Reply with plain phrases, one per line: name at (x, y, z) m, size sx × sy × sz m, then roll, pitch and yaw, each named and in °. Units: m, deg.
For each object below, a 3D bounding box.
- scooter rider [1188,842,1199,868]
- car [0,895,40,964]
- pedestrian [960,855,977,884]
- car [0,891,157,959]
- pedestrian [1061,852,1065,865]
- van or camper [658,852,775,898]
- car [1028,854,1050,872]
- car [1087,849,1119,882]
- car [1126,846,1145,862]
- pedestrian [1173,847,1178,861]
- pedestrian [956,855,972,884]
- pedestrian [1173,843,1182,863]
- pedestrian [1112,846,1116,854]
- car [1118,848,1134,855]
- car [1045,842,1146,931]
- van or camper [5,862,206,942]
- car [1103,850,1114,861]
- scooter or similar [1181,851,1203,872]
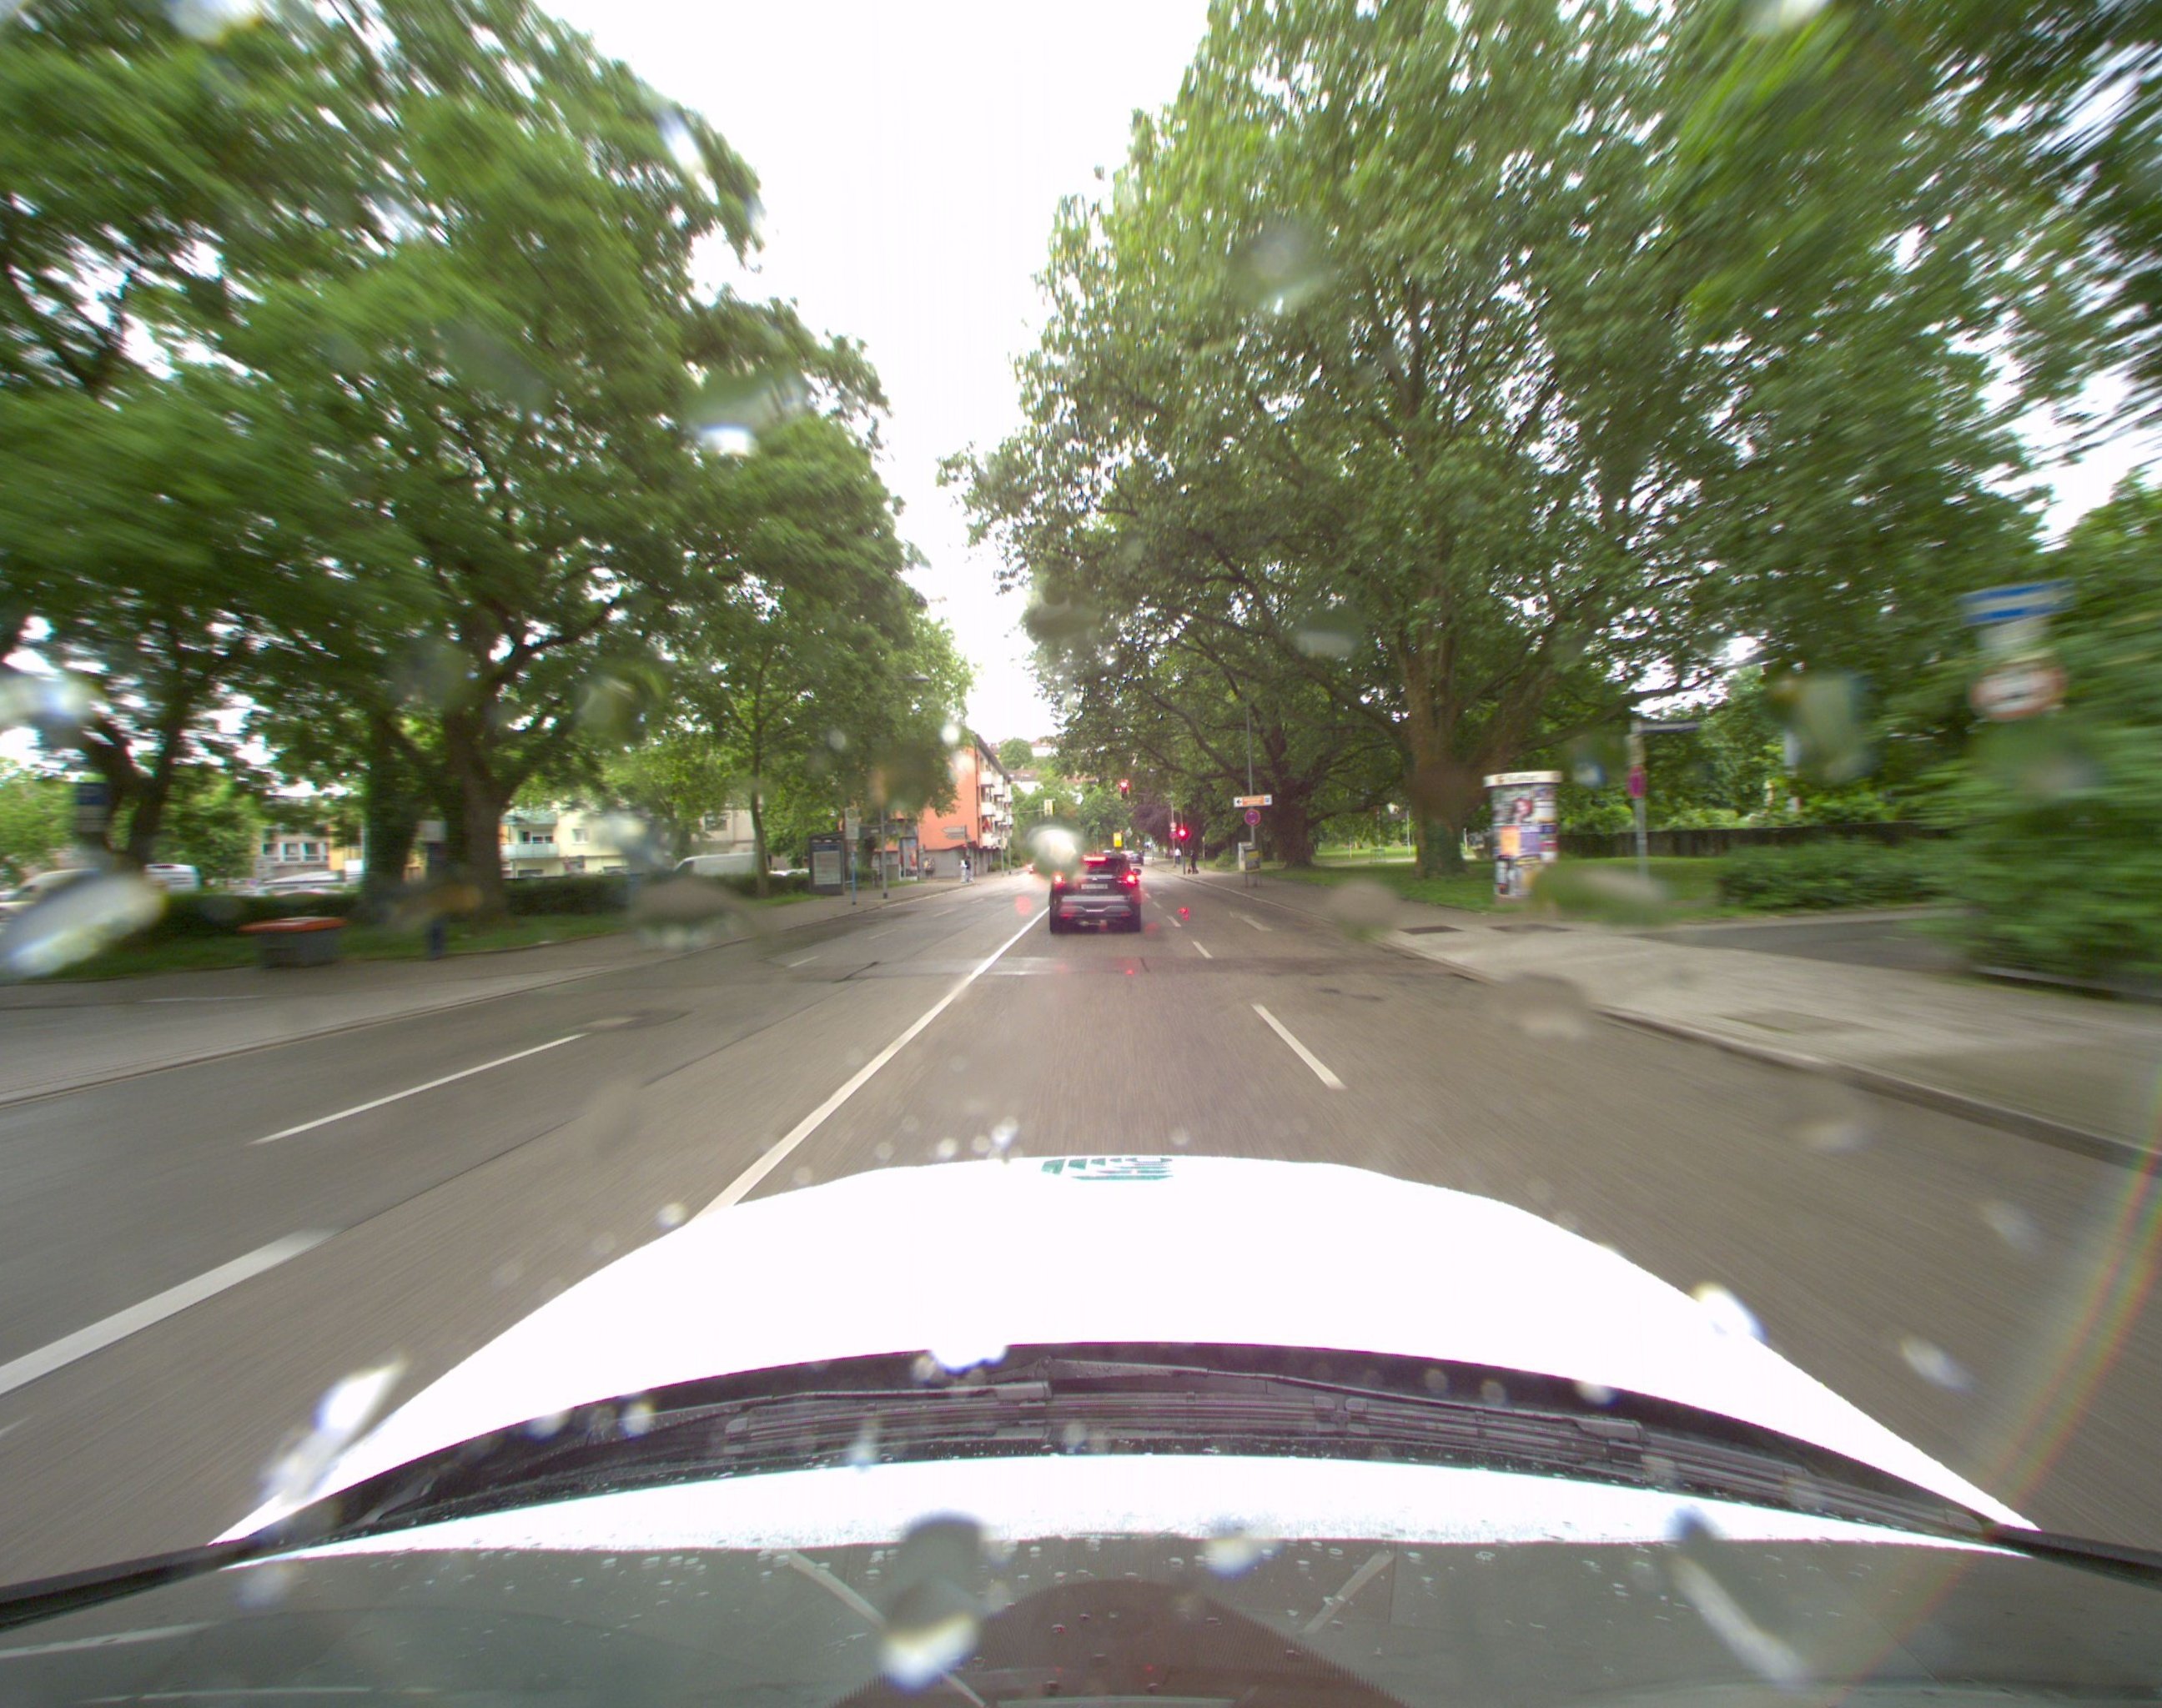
scooter rider at (7.852, 0.096, 57.003) m, size 0.639 × 1.766 × 0.738 m, roll -2°, pitch -1°, yaw 13°
car at (-28.370, 1.942, 19.703) m, size 4.022 × 1.625 × 1.865 m, roll -2°, pitch 0°, yaw 2°
pedestrian at (-7.561, 1.028, 54.764) m, size 1.035 × 1.876 × 0.656 m, roll -2°, pitch 0°, yaw -10°
car at (-28.161, 1.927, 22.151) m, size 3.971 × 1.625 × 1.865 m, roll -2°, pitch 0°, yaw 2°
pedestrian at (-2.499, 0.663, 112.627) m, size 0.506 × 1.802 × 0.620 m, roll -3°, pitch 0°, yaw 1°
van or camper at (-17.300, 0.957, 38.824) m, size 4.582 × 1.949 × 1.999 m, roll -2°, pitch 0°, yaw -1°
car at (-3.860, 0.774, 75.197) m, size 1.791 × 1.533 × 3.864 m, roll -3°, pitch 0°, yaw -2°
car at (1.293, 0.615, 47.077) m, size 1.692 × 1.745 × 3.642 m, roll -3°, pitch 0°, yaw 2°
car at (6.080, 0.028, 90.529) m, size 1.983 × 1.735 × 4.007 m, roll 0°, pitch 0°, yaw 6°
pedestrian at (10.236, 0.047, 88.037) m, size 0.388 × 1.502 × 0.559 m, roll -3°, pitch 0°, yaw 2°
pedestrian at (-7.765, 1.024, 54.016) m, size 1.035 × 1.876 × 0.656 m, roll -2°, pitch 0°, yaw -10°
pedestrian at (9.936, -0.092, 83.661) m, size 0.722 × 2.013 × 0.852 m, roll -3°, pitch 0°, yaw 1°
pedestrian at (6.765, -0.794, 168.850) m, size 0.503 × 1.673 × 0.663 m, roll -3°, pitch 0°, yaw 29°
car at (11.311, -0.639, 204.264) m, size 3.973 × 1.668 × 1.702 m, roll 0°, pitch 0°, yaw 0°
car at (0.342, 0.605, 17.488) m, size 1.906 × 1.680 × 4.002 m, roll -1°, pitch 0°, yaw 2°
van or camper at (-33.023, 1.587, 27.663) m, size 4.310 × 2.431 × 2.101 m, roll -2°, pitch 0°, yaw 2°
car at (4.416, 0.199, 128.838) m, size 1.628 × 1.532 × 3.969 m, roll -3°, pitch 0°, yaw 2°
scooter or similar at (7.790, 0.531, 56.975) m, size 1.384 × 1.446 × 0.820 m, roll -2°, pitch -1°, yaw 13°
